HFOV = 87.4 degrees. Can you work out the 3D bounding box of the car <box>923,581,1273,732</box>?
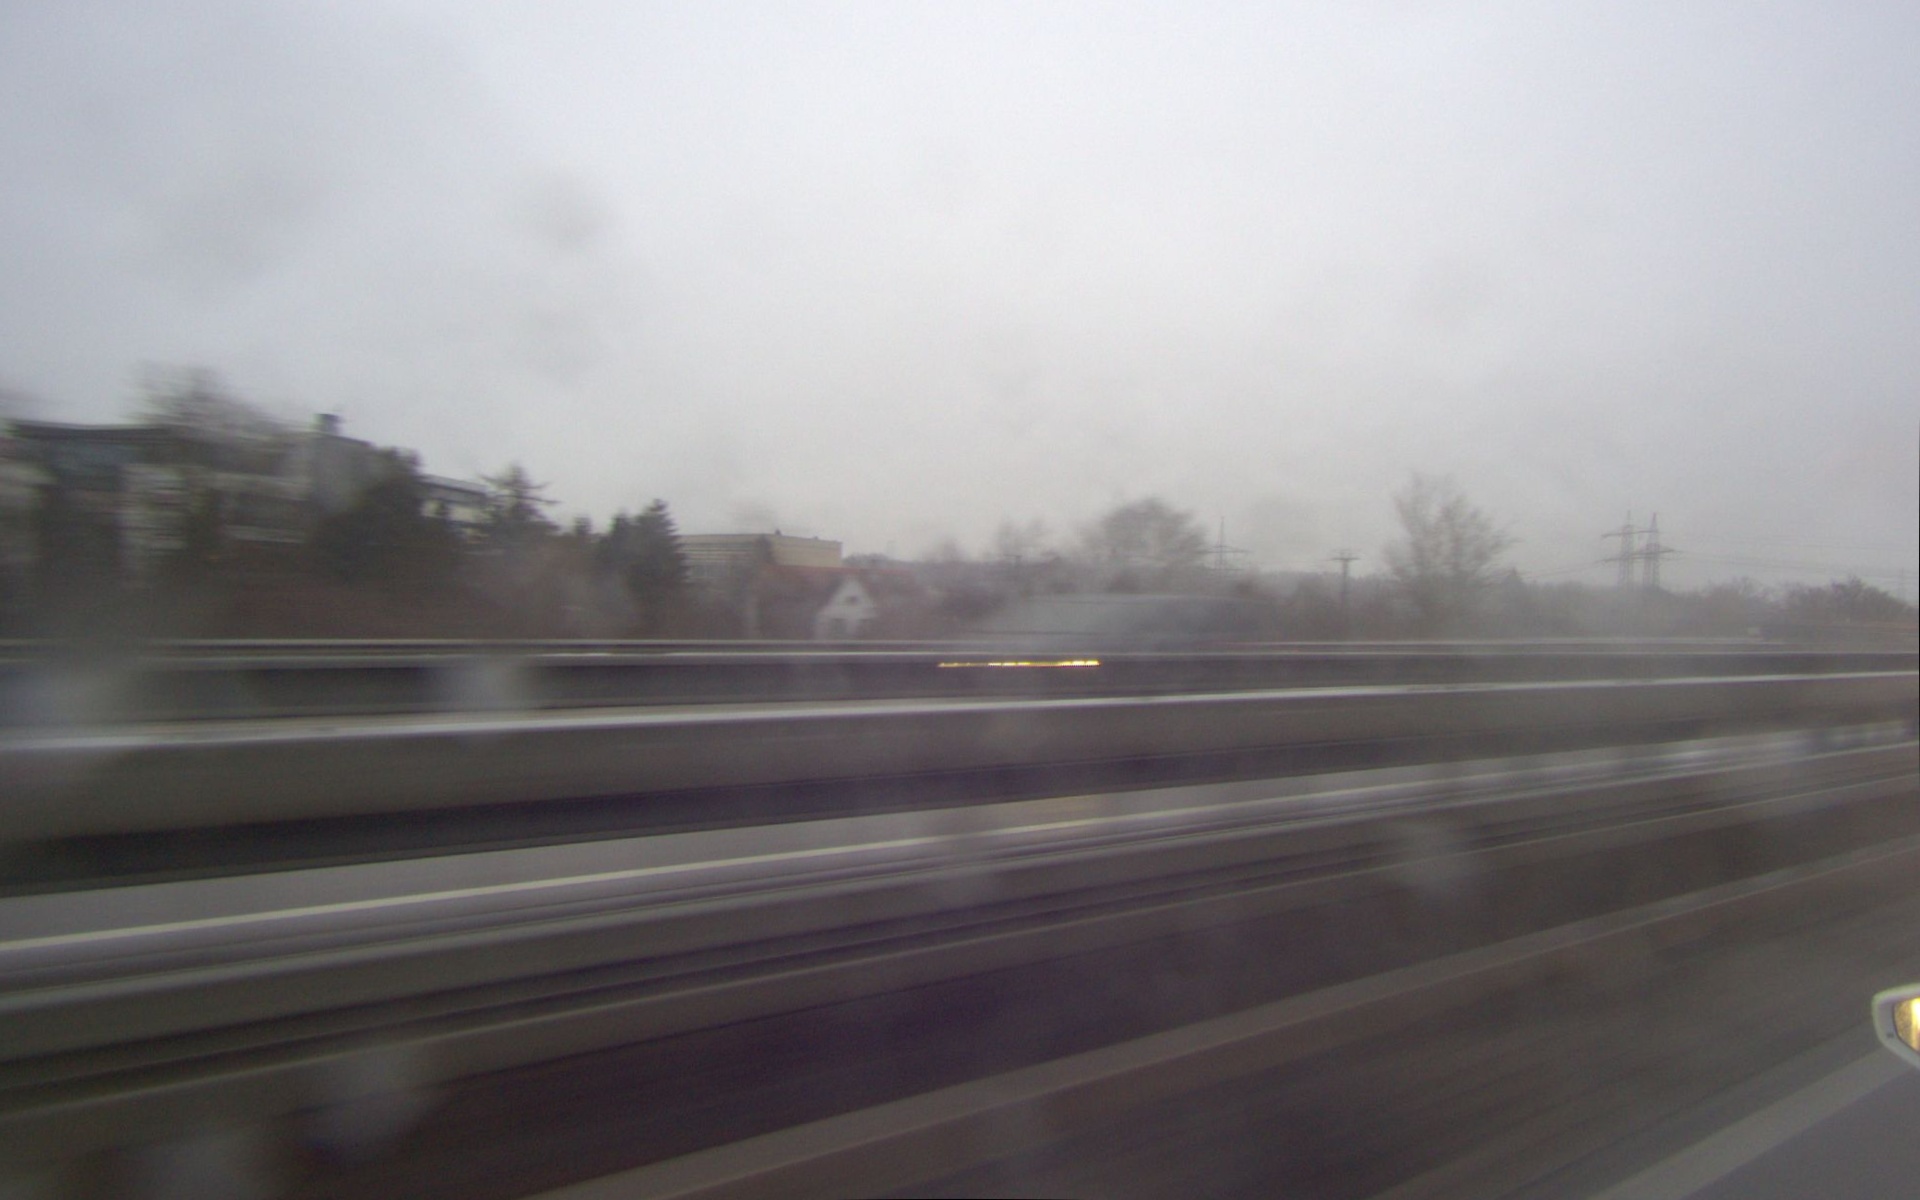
[{"bbox_3d":[1.981,0.711,14.001,4.649,1.808,1.886,1,0,-30],"label":"car"}]
